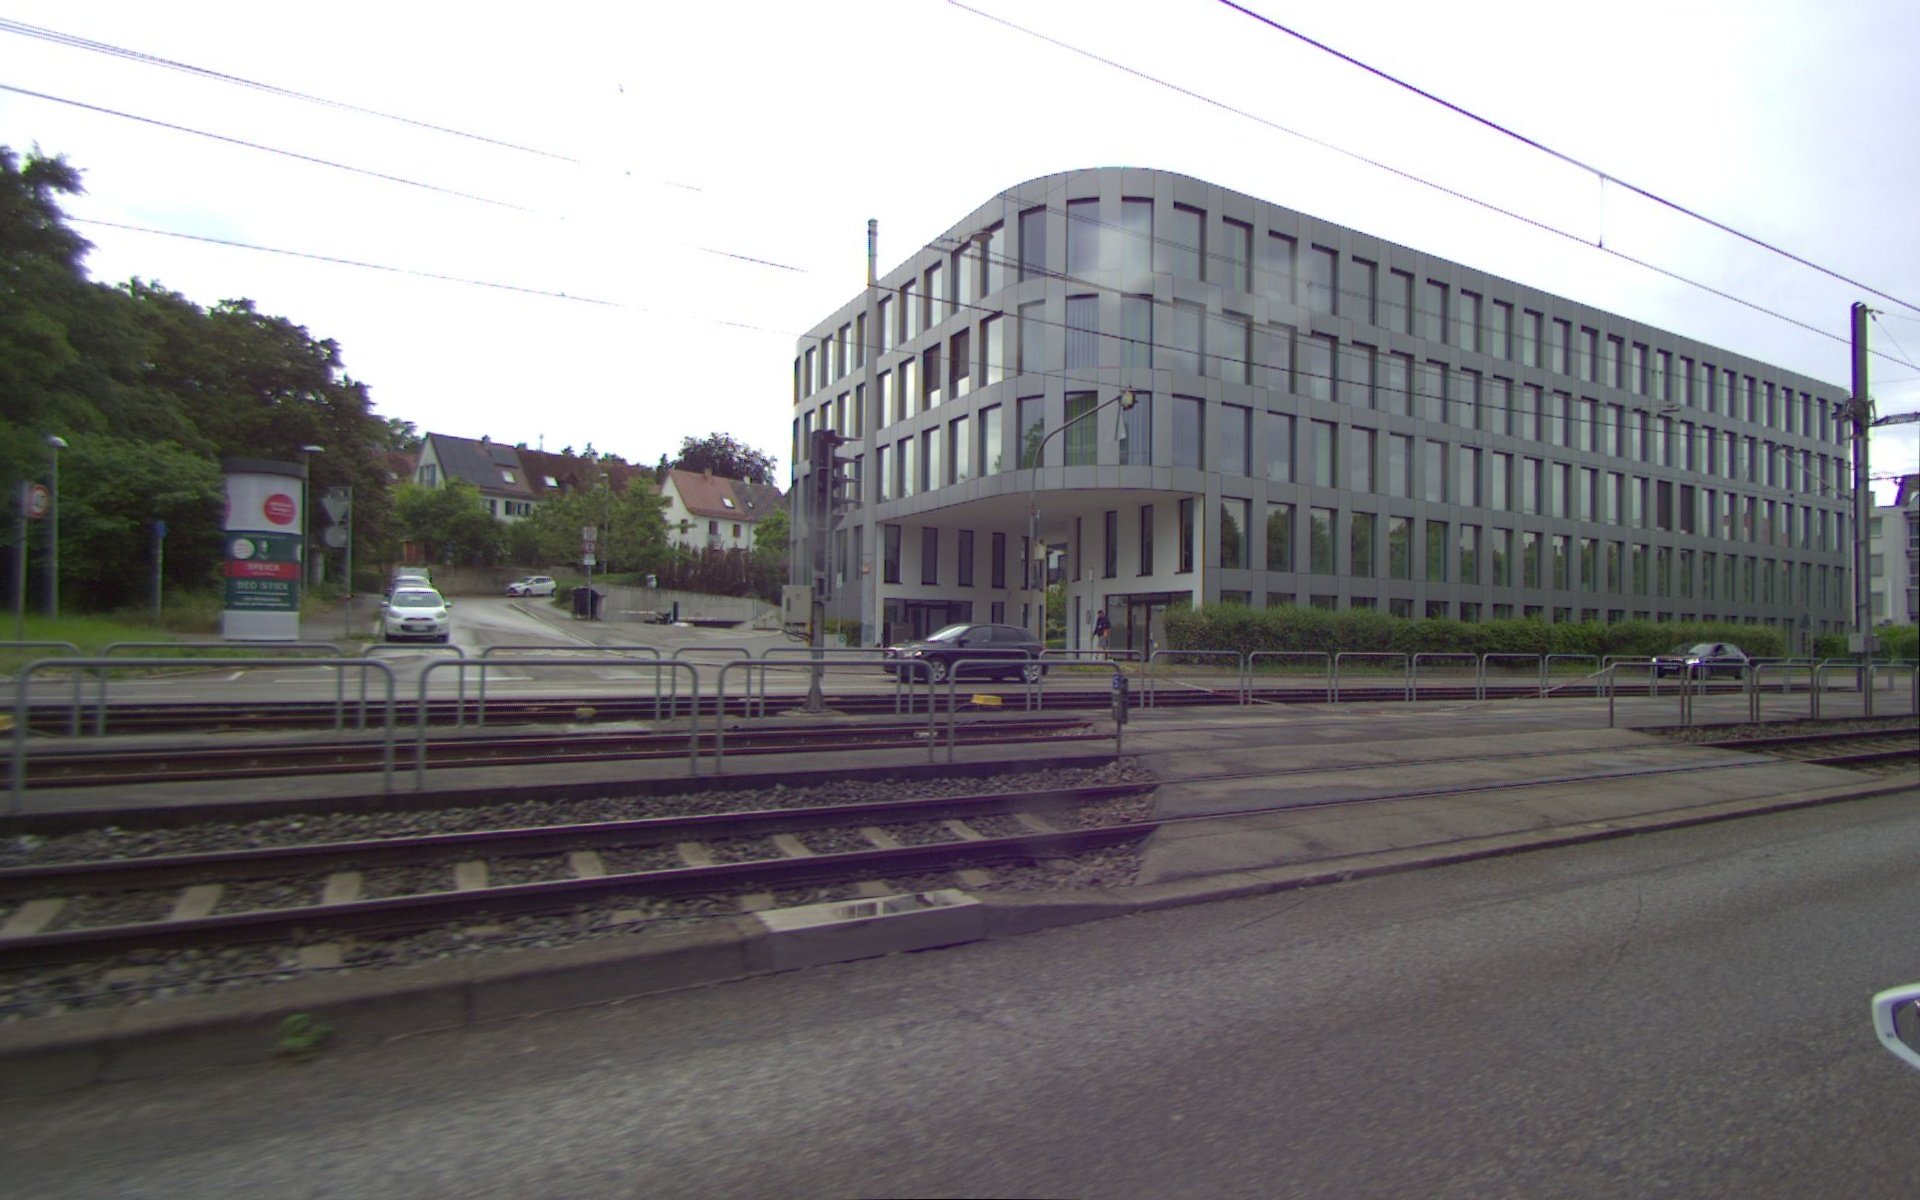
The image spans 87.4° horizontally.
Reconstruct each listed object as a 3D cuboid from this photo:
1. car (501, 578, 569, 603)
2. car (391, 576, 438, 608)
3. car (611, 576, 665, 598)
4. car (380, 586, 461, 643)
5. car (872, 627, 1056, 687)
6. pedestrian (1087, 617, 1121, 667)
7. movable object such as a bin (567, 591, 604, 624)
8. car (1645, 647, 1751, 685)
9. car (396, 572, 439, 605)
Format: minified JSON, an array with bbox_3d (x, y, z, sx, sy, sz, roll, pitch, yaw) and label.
[{"bbox_3d":[-29.811,-0.630,70.498,1.910,1.510,4.020,3,0,29],"label":"car"},{"bbox_3d":[-28.559,-0.451,52.550,1.924,1.494,4.233,3,0,-31],"label":"car"},{"bbox_3d":[-25.094,-1.004,78.389,1.862,1.512,3.872,1,-2,27],"label":"car"},{"bbox_3d":[-16.301,0.407,30.261,1.904,1.472,3.898,3,0,-31],"label":"car"},{"bbox_3d":[0.113,1.334,23.448,3.941,1.260,1.748,3,-3,-30],"label":"car"},{"bbox_3d":[4.920,1.436,34.319,0.835,1.669,0.721,3,-1,-29],"label":"pedestrian"},{"bbox_3d":[-17.430,0.355,46.689,1.261,1.414,1.258,3,0,-37],"label":"movable object such as a bin"},{"bbox_3d":[28.663,2.566,38.984,4.209,1.364,1.790,3,-3,-30],"label":"car"},{"bbox_3d":[-31.080,-0.688,57.641,1.920,1.682,4.127,3,0,-26],"label":"car"}]
